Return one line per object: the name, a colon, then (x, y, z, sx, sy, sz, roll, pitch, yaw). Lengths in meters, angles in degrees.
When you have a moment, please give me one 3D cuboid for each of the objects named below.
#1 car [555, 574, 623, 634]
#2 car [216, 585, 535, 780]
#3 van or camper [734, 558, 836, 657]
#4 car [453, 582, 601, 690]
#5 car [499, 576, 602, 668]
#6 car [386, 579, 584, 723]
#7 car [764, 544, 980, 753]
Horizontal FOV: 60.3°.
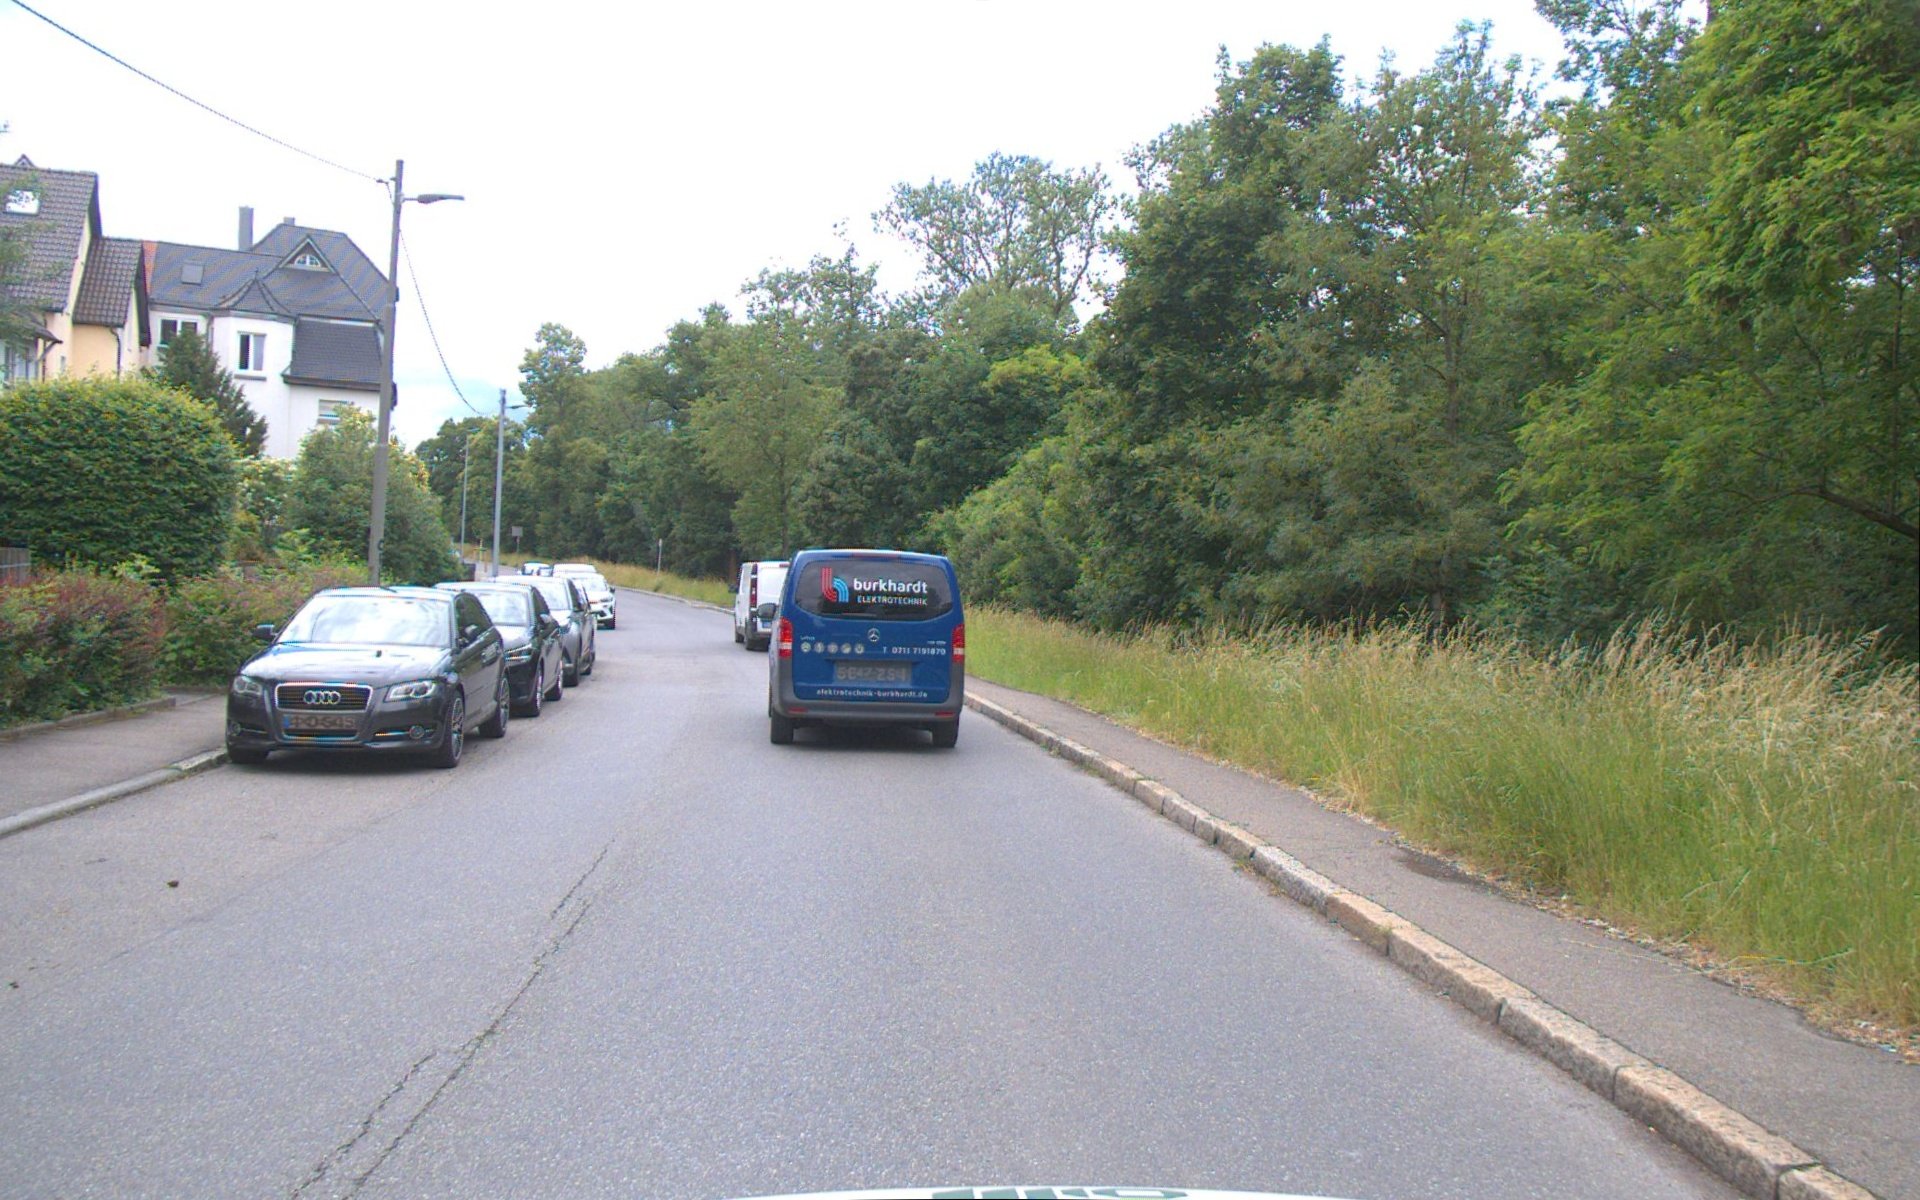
car: (-10.629, 0.091, 47.216, 1.695, 1.518, 4.397, 4, 0, -14)
car: (-4.978, 0.611, 14.722, 1.702, 1.443, 4.497, 1, 0, -7)
van or camper: (-4.102, 0.097, 38.105, 1.982, 1.990, 4.886, 3, 2, -9)
car: (-6.475, 0.483, 25.123, 1.728, 1.506, 4.119, 0, 1, -8)
car: (-7.365, 0.358, 30.016, 1.594, 1.506, 3.917, 2, 0, -12)
car: (-5.502, 0.524, 19.641, 1.618, 1.467, 4.325, 2, 0, -8)
car: (-1.050, 0.450, 17.301, 1.877, 1.870, 4.286, 2, 0, -8)
